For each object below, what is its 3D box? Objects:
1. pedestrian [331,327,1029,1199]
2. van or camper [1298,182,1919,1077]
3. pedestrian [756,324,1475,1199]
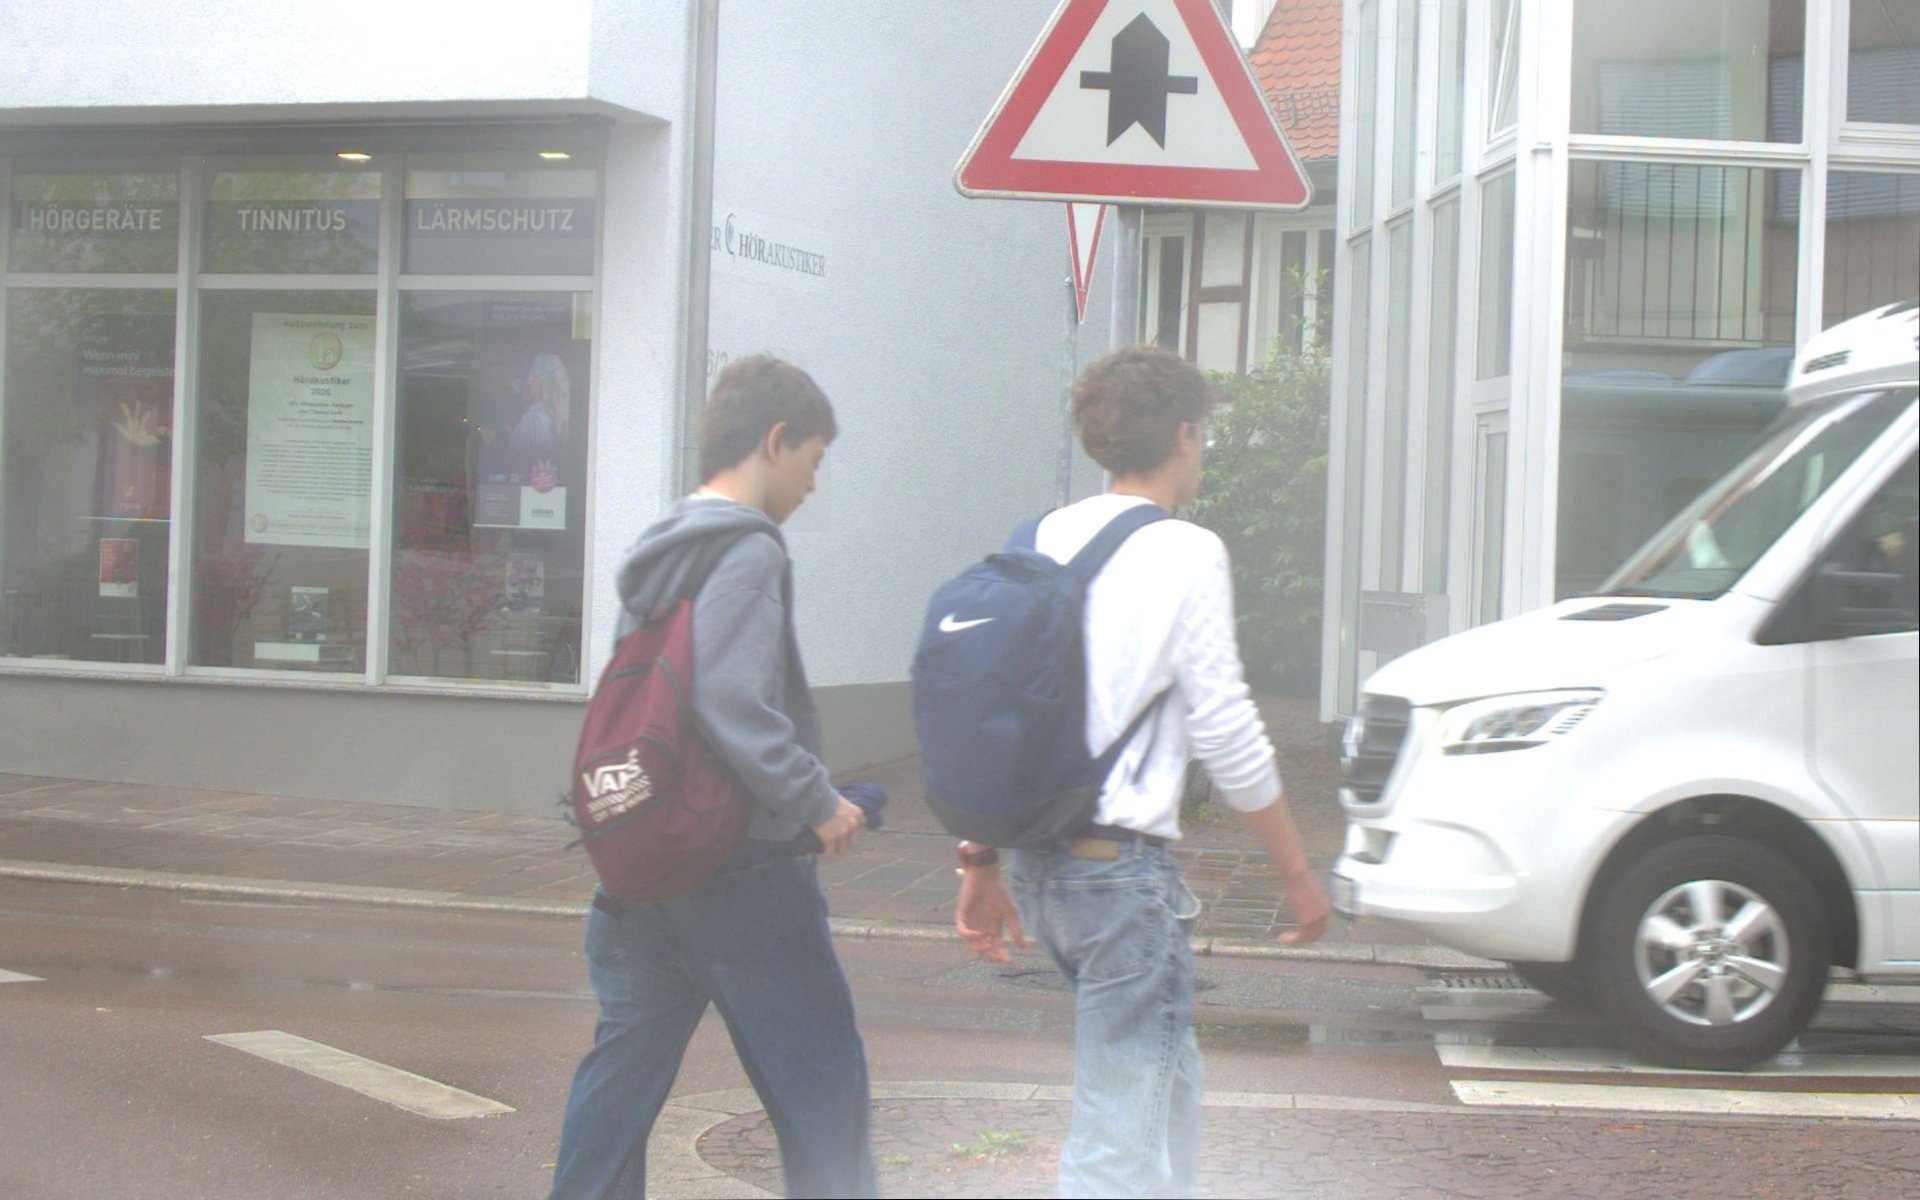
[{"bbox_3d":[-0.480,0.455,6.142,0.693,1.794,1.056,2,0,35],"label":"pedestrian"},{"bbox_3d":[4.688,0.164,11.421,6.728,2.577,2.446,2,1,-2],"label":"van or camper"},{"bbox_3d":[0.270,0.500,5.561,0.665,1.800,1.059,2,0,35],"label":"pedestrian"}]
